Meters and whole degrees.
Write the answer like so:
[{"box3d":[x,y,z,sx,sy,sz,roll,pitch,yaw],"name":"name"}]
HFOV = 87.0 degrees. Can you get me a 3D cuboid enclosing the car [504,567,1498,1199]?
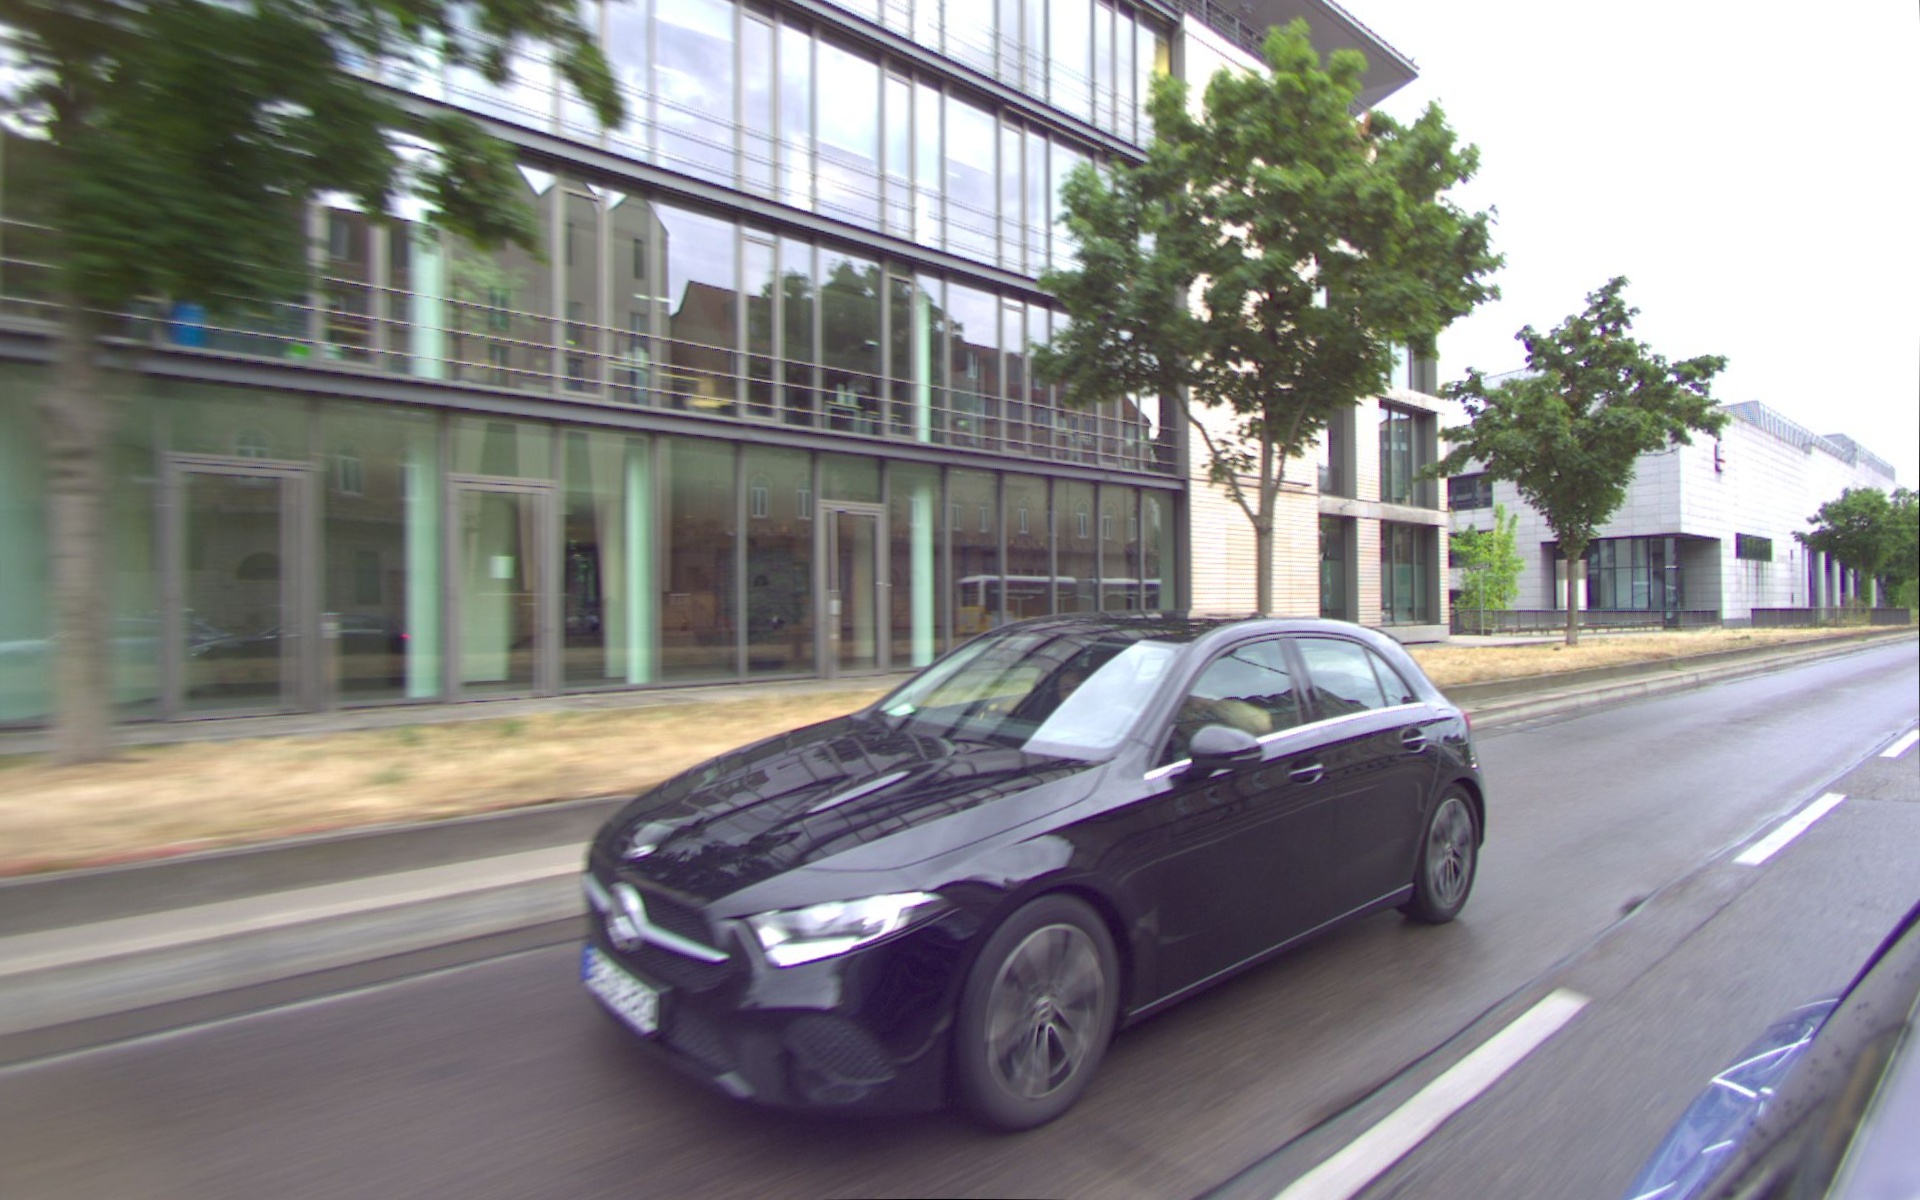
[{"box3d":[0.509,0.648,4.330,4.133,1.455,1.875,0,0,-42],"name":"car"}]
